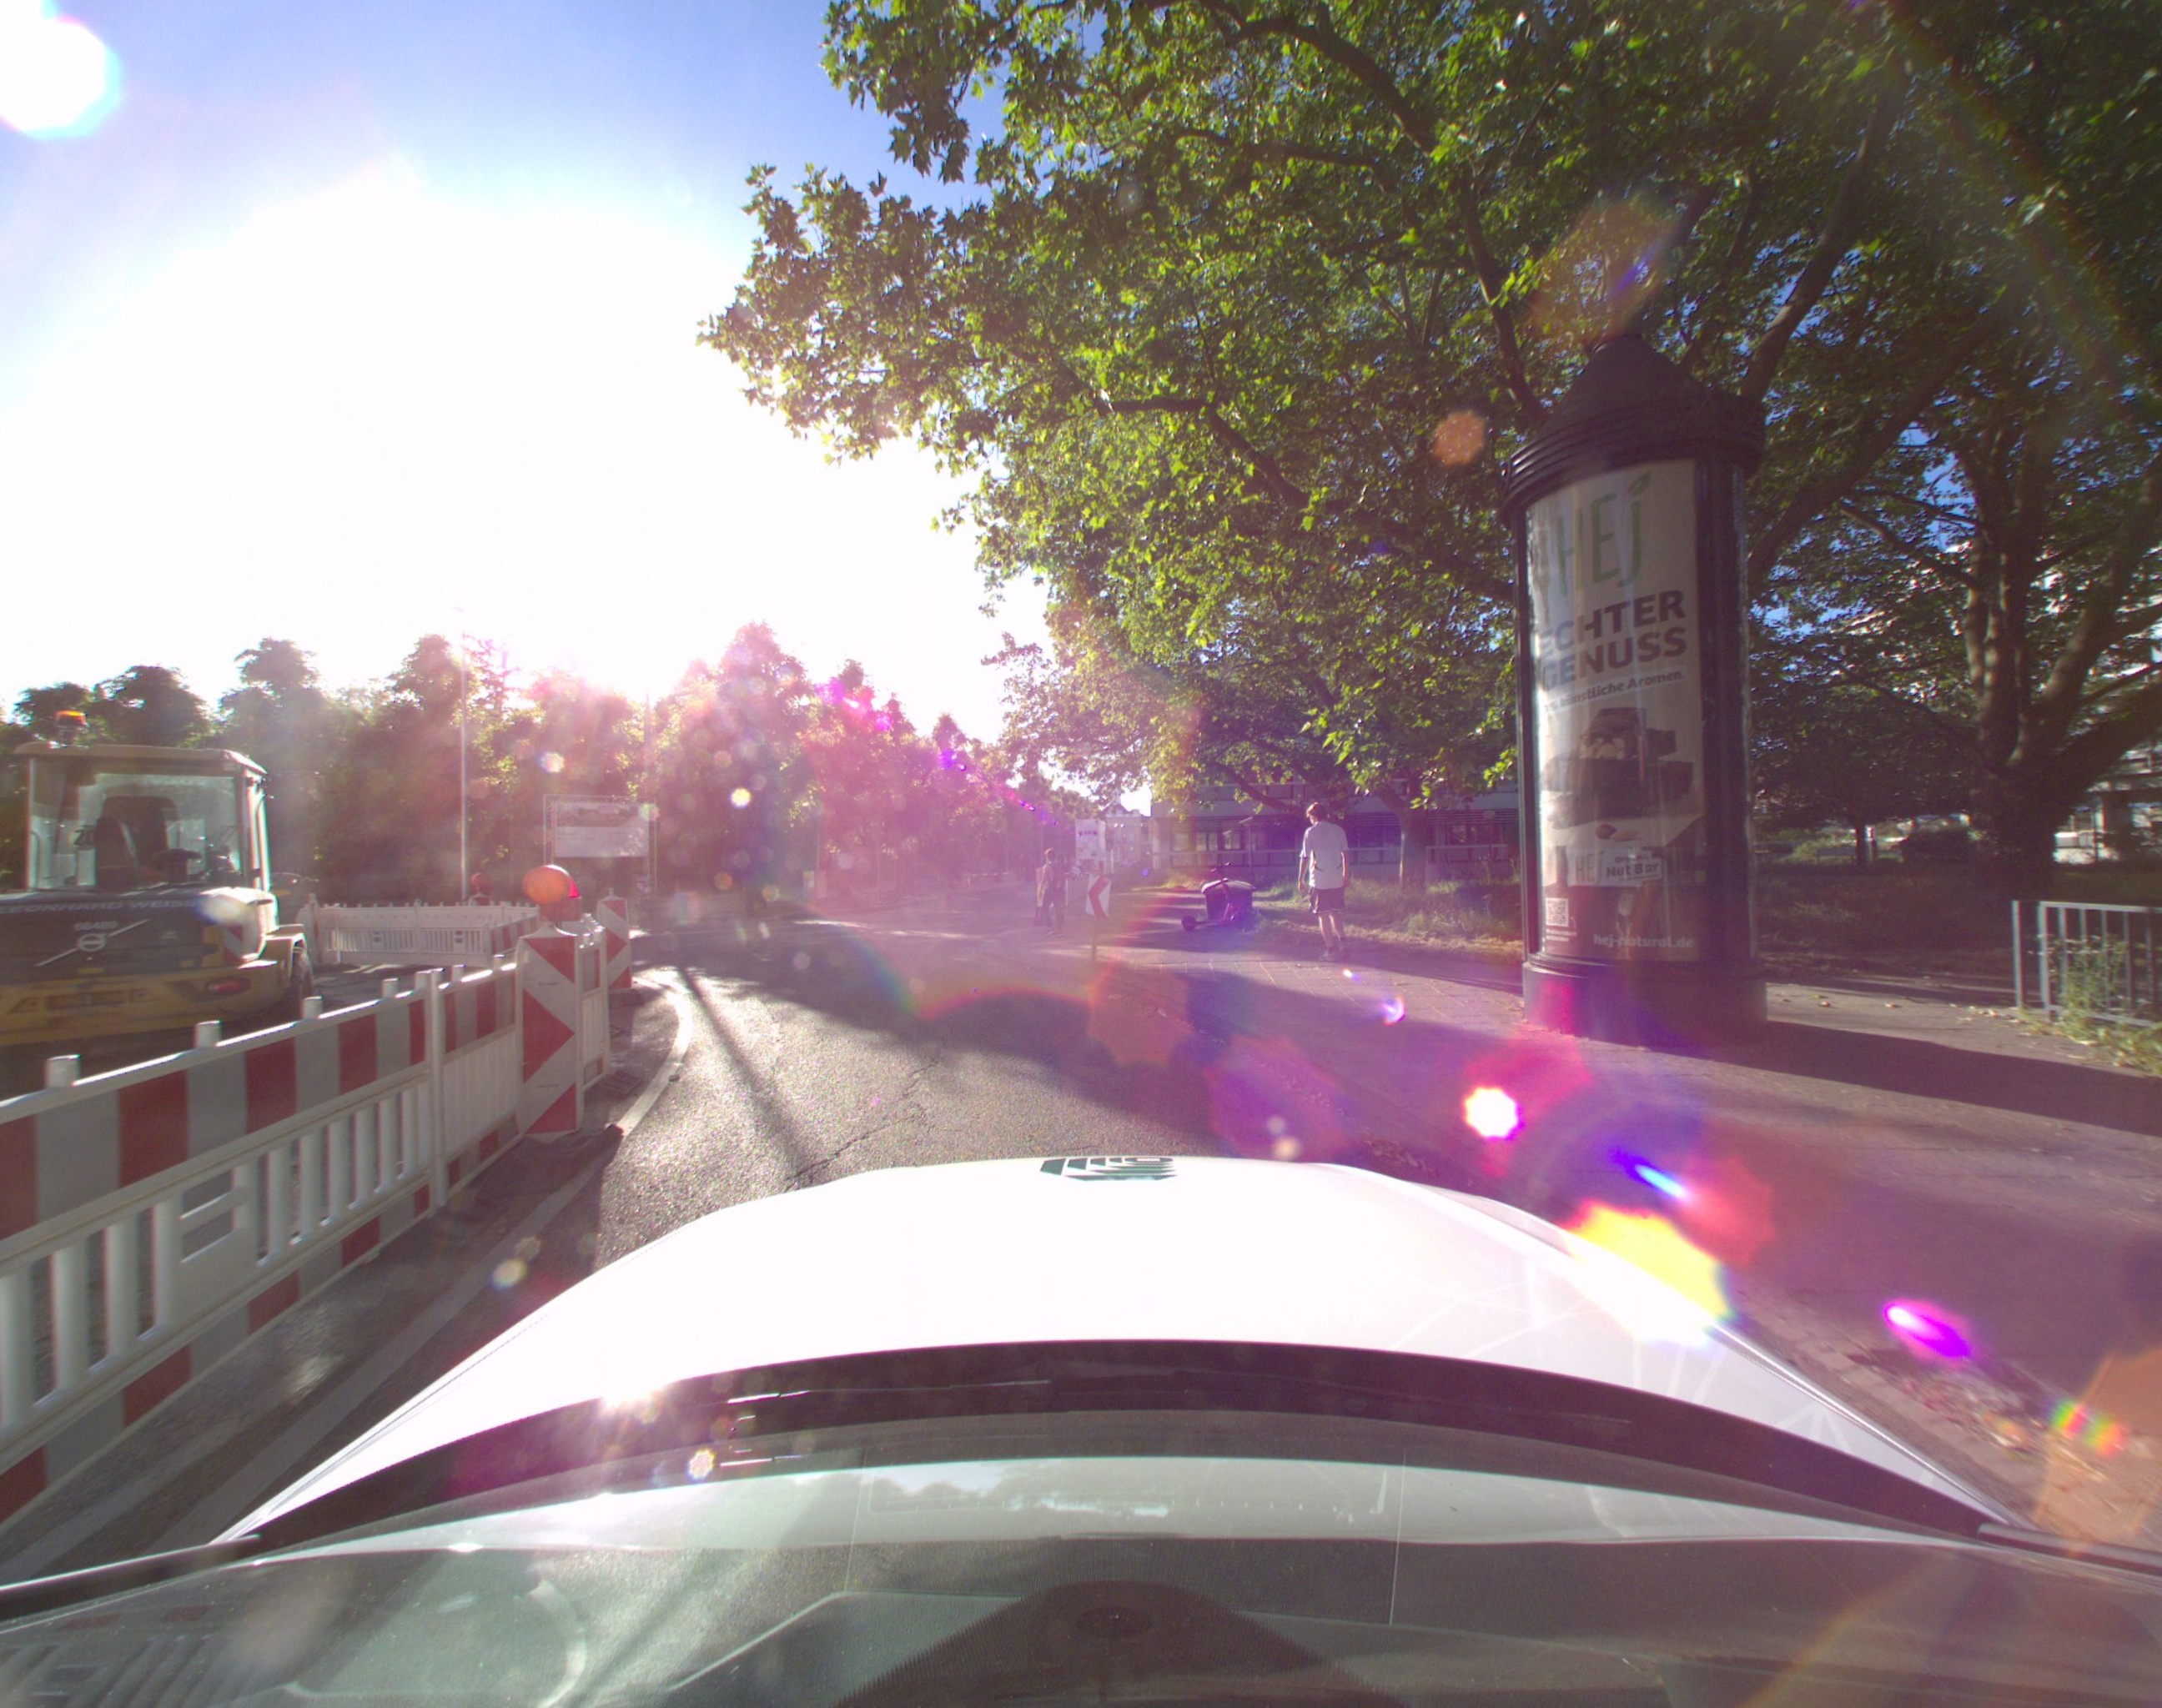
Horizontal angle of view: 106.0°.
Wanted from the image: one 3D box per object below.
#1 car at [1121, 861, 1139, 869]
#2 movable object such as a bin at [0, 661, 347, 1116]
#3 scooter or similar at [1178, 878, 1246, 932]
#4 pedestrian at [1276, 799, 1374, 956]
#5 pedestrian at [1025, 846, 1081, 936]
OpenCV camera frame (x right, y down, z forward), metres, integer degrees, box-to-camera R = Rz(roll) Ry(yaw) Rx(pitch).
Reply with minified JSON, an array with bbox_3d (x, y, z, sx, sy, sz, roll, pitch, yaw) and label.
[{"bbox_3d":[12.166,2.736,202.045,4.535,1.791,2.003,-1,-1,5],"label":"car"},{"bbox_3d":[-8.954,0.312,7.760,2.580,3.031,5.862,-2,-1,-39],"label":"movable object such as a bin"},{"bbox_3d":[2.405,0.931,14.971,1.143,0.914,0.419,-3,-2,-1],"label":"scooter or similar"},{"bbox_3d":[2.974,0.276,10.025,0.744,1.813,1.130,1,-1,-9],"label":"pedestrian"},{"bbox_3d":[-0.530,0.680,15.230,0.711,1.623,0.931,-1,-2,-25],"label":"pedestrian"}]
